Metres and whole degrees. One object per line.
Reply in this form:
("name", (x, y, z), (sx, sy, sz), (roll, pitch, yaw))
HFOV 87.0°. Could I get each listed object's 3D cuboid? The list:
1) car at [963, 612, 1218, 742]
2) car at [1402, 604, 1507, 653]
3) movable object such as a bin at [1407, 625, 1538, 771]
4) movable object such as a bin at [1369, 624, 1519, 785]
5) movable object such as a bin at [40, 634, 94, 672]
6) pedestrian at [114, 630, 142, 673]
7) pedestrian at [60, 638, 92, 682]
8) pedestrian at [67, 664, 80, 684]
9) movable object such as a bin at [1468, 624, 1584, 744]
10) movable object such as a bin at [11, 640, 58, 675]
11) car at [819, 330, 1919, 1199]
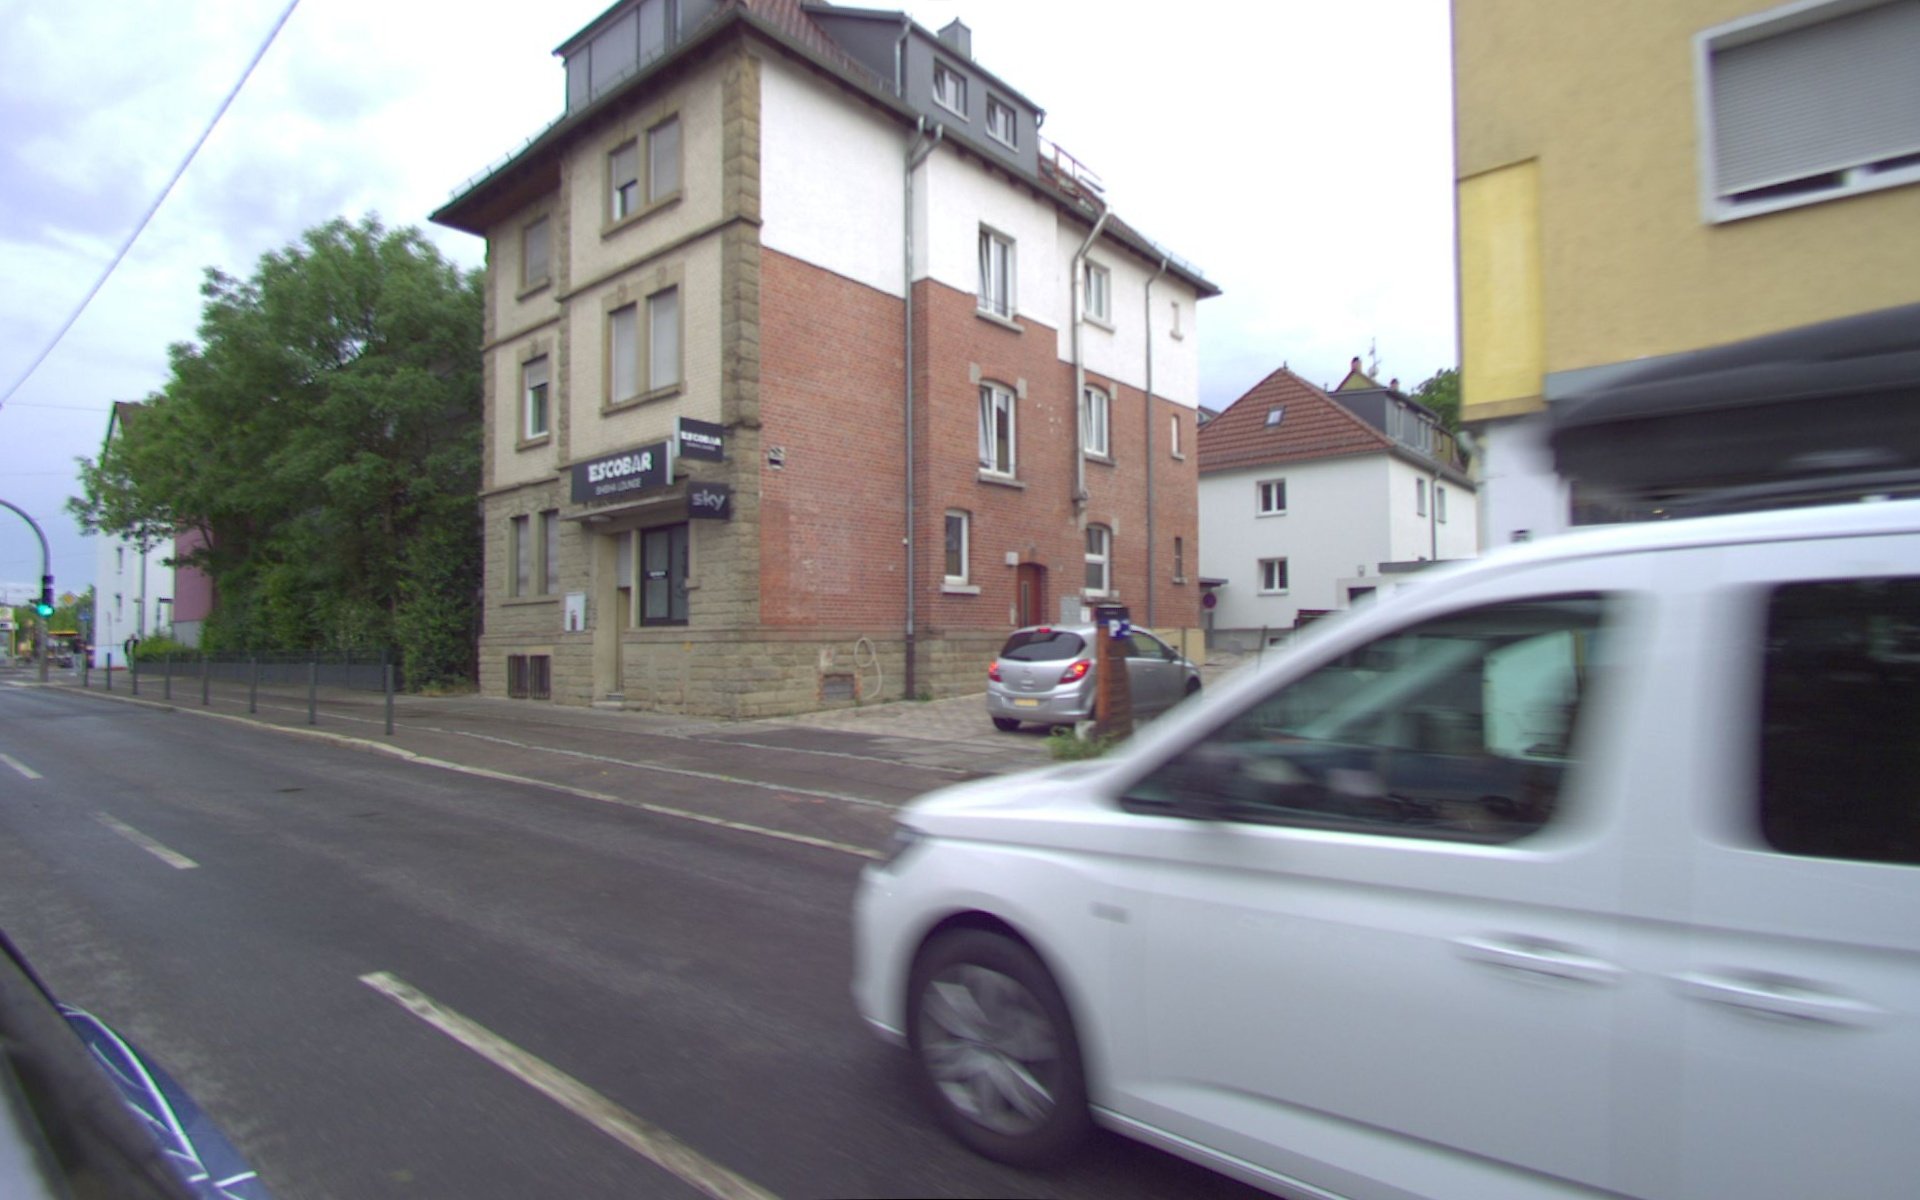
("car", (1.922, 0.972, 14.195), (1.945, 1.497, 3.529), (-2, -1, 39))
("car", (15.091, 0.845, 30.789), (1.820, 1.383, 3.944), (-2, -1, 42))
("movable object such as a bin", (5.533, 0.999, 10.907), (0.982, 1.450, 1.233), (-2, -2, 40))
("movable object such as a bin", (4.672, 0.942, 9.752), (0.983, 1.413, 1.288), (-2, -2, 41))
("movable object such as a bin", (-96.755, 5.772, 109.750), (2.907, 3.873, 8.150), (0, -4, -31))
("pedestrian", (-37.112, 2.293, 45.146), (1.115, 1.835, 0.797), (-4, -4, 41))
("pedestrian", (-38.991, 2.646, 44.642), (1.043, 1.897, 0.853), (-4, -4, 39))
("pedestrian", (-68.139, 5.691, 77.756), (0.594, 1.540, 1.041), (-1, -3, -33))
("movable object such as a bin", (7.372, 1.048, 13.171), (1.047, 1.451, 1.352), (-2, -2, 41))
("movable object such as a bin", (-87.533, 5.460, 95.782), (2.786, 3.137, 4.643), (1, -4, -36))
("car", (1.839, 0.559, 2.453), (4.451, 1.884, 1.862), (-1, -2, 42))
